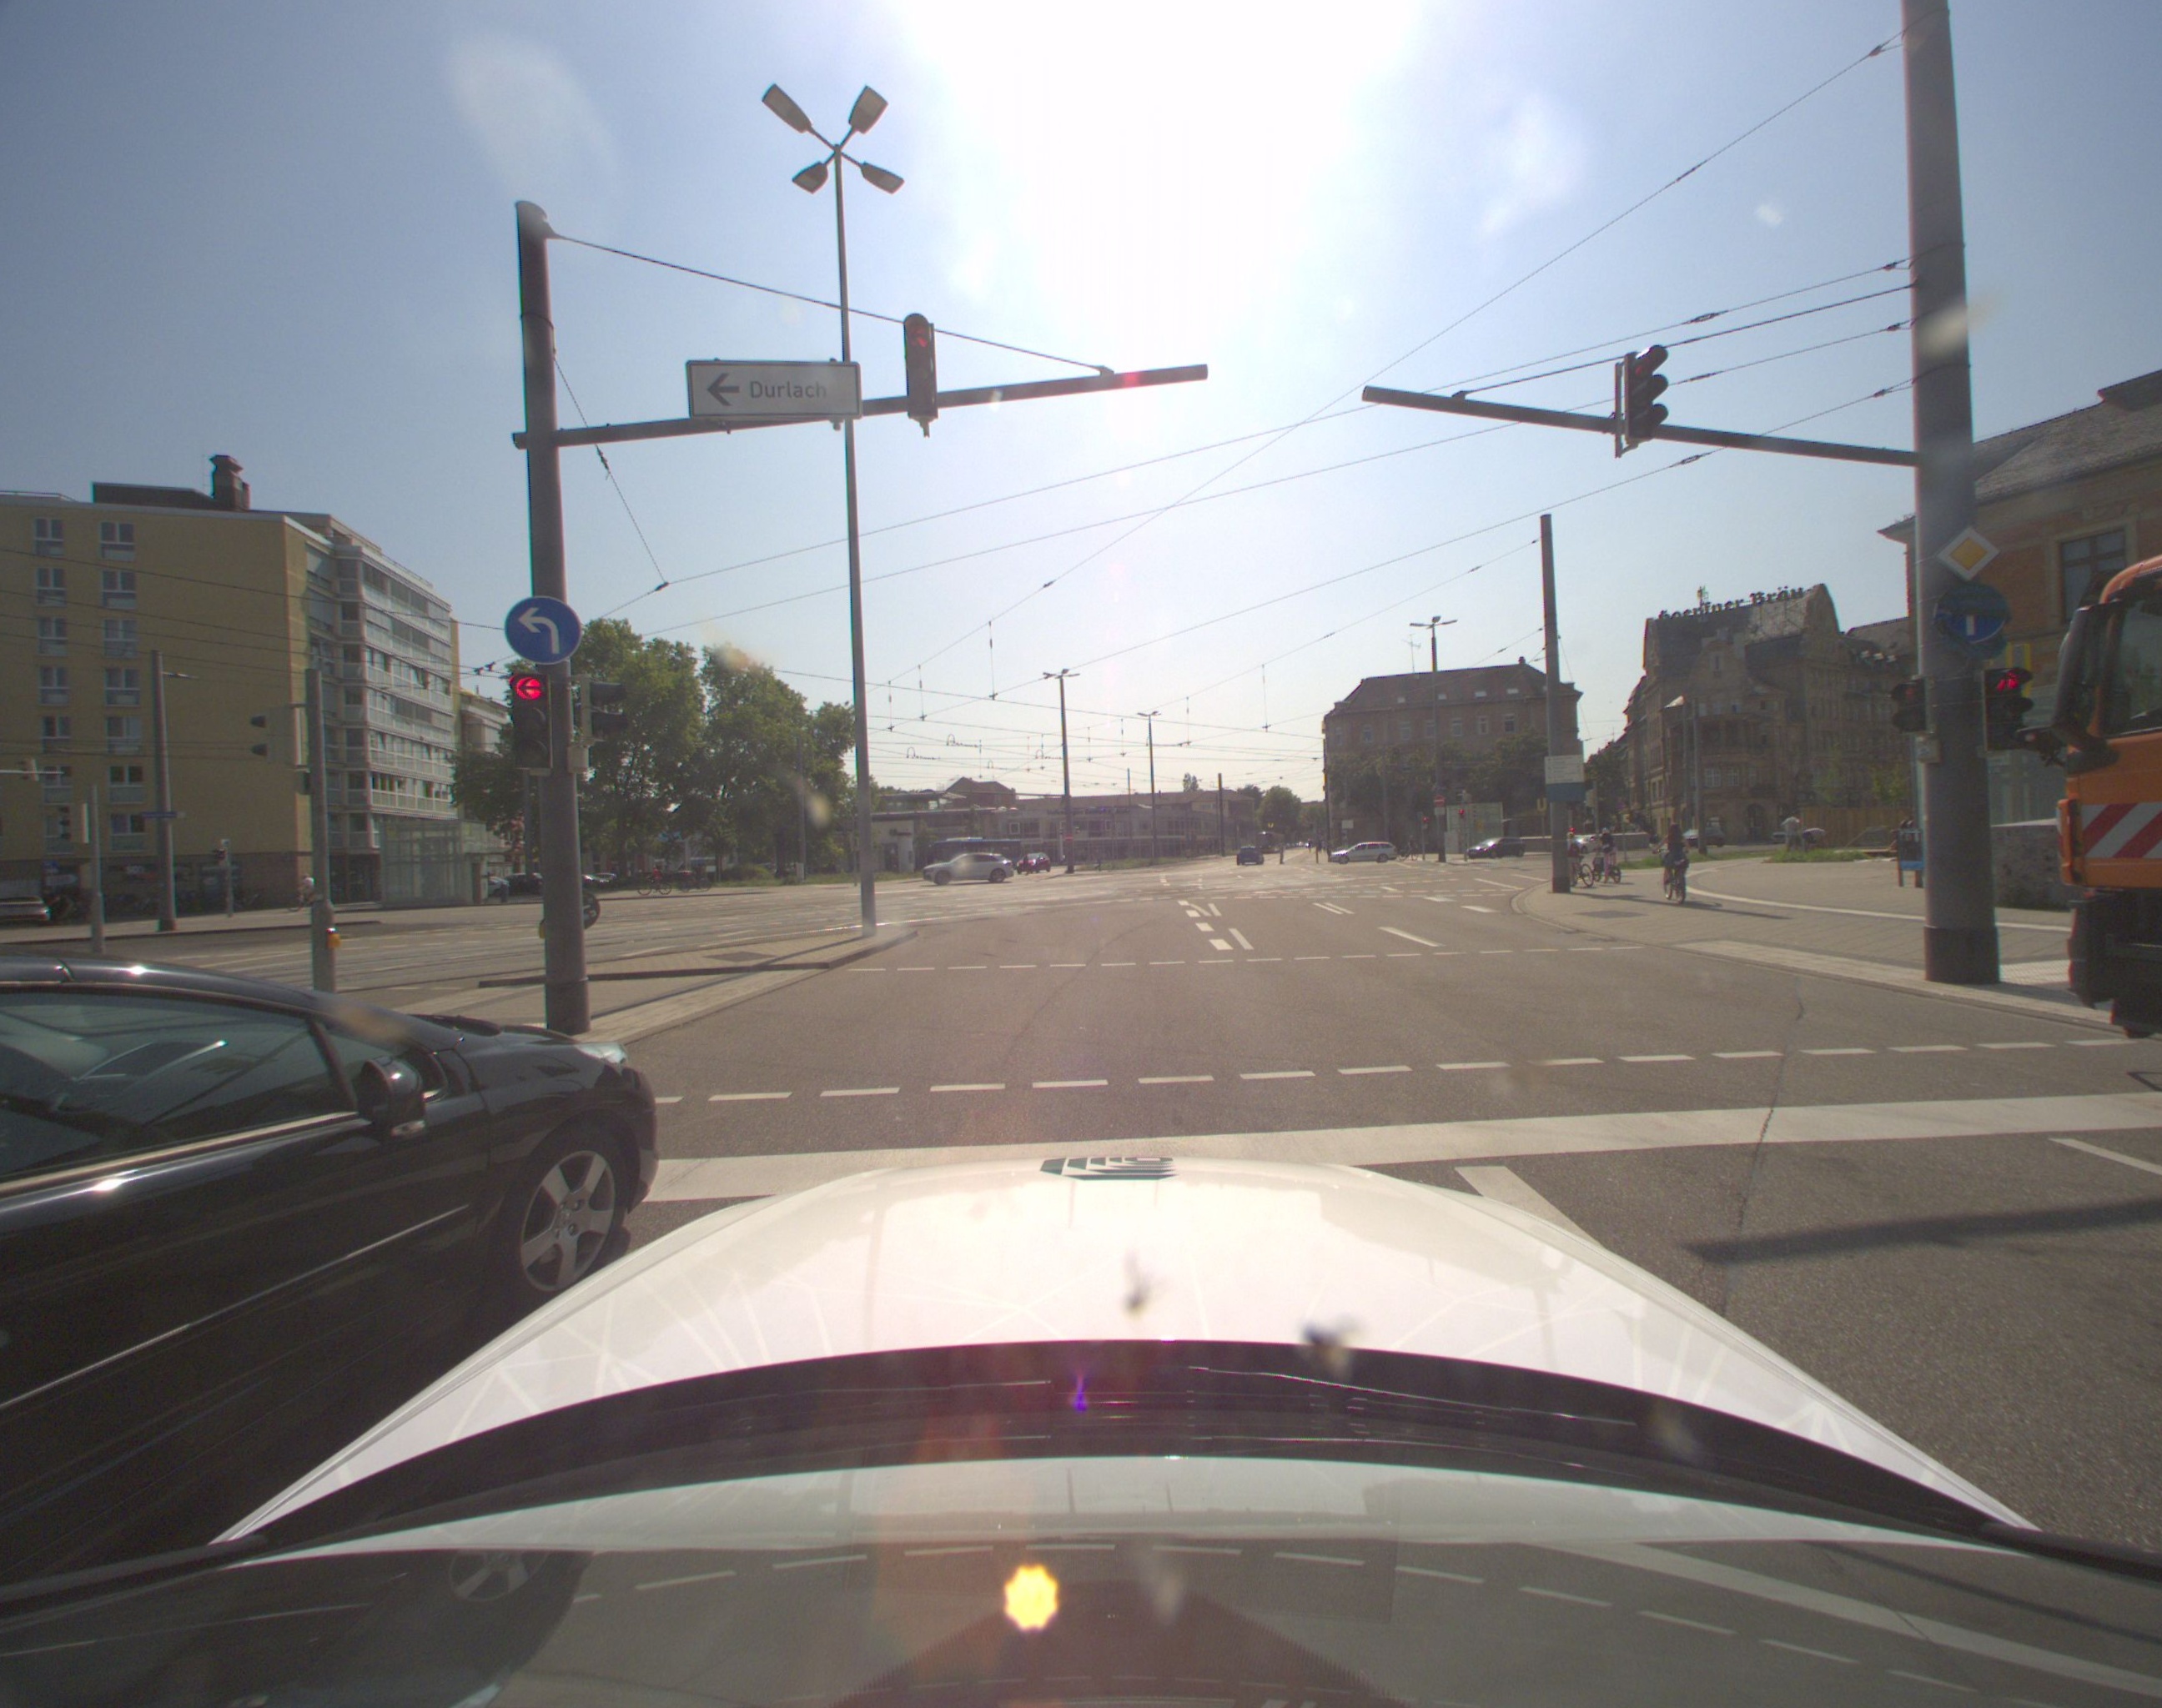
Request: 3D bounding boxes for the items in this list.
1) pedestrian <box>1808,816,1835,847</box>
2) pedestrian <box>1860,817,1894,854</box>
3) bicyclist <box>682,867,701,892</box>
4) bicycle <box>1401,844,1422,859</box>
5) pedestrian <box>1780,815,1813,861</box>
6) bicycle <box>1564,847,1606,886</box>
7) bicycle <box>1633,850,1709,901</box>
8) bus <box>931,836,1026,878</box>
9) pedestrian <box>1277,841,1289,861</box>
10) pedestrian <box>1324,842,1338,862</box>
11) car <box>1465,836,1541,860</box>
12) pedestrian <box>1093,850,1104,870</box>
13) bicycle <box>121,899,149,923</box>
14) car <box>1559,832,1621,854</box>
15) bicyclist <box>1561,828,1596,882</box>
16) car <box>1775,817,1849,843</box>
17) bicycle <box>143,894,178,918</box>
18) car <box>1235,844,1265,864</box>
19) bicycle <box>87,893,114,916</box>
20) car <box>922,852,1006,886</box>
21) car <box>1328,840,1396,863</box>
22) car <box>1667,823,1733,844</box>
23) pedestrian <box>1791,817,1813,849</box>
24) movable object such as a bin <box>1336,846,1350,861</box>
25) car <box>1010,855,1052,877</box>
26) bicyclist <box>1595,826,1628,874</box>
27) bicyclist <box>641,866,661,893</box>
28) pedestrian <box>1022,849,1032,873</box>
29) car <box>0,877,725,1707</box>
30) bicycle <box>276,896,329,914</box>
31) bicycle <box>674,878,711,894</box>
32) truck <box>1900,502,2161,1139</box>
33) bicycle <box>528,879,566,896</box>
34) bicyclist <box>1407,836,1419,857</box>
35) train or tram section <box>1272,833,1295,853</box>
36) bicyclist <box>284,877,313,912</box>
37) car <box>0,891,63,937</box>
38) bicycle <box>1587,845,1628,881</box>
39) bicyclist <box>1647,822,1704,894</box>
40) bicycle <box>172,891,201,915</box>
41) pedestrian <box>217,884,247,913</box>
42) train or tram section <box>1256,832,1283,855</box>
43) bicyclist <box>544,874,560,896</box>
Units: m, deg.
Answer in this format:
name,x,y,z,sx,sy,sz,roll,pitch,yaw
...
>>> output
name,x,y,z,sx,sy,sz,roll,pitch,yaw
pedestrian,29.183,-0.887,32.110,0.658,1.214,0.531,-2,0,30
pedestrian,31.591,-0.726,32.306,0.768,1.399,0.687,-2,0,-24
bicyclist,-23.539,1.528,49.225,0.873,1.475,0.543,-2,0,-16
bicycle,24.348,-0.199,60.080,0.470,1.055,1.643,-2,0,-18
pedestrian,27.237,-0.614,31.008,0.549,1.724,0.812,-2,0,-39
bicycle,14.570,0.341,23.590,0.532,1.055,1.660,-2,0,14
bicycle,12.893,0.442,17.846,0.489,1.055,1.826,-2,0,7
bus,-8.170,0.159,67.173,2.541,3.082,12.082,-3,0,19
pedestrian,15.947,-0.238,64.235,0.699,1.603,0.572,-2,0,-6
pedestrian,19.420,-0.142,63.370,0.849,1.545,0.527,-2,0,-6
car,28.962,-0.412,55.921,4.766,1.415,1.765,-2,0,-18
pedestrian,1.276,0.442,58.964,0.678,1.443,0.364,-2,0,-15
bicycle,-51.354,3.096,44.178,3.220,1.204,0.699,-3,0,36
car,37.741,-0.821,60.374,4.207,1.415,1.762,-2,0,-24
bicyclist,14.592,0.027,23.899,0.623,1.517,0.715,-2,0,14
car,63.360,-2.028,70.636,4.593,2.013,2.001,-2,0,2
bicycle,-50.262,2.829,44.448,3.220,1.204,0.916,-3,0,36
car,13.217,-0.019,63.636,1.577,1.394,4.021,-3,0,22
bicycle,-53.084,2.730,44.084,2.754,1.204,0.699,-3,0,36
car,-6.431,0.799,44.550,4.330,1.618,1.745,-2,0,-16
car,19.296,-0.189,56.046,4.149,1.415,1.781,-2,0,10
car,50.511,-1.674,66.452,4.624,1.505,1.987,-2,0,-19
pedestrian,36.337,-1.055,41.056,0.794,1.575,0.729,-2,0,-44
movable object such as a bin,20.297,-0.022,63.087,0.812,1.077,0.510,-2,0,-9
car,-3.889,0.955,63.817,1.735,1.552,4.020,-3,0,20
bicyclist,16.100,-0.122,24.732,0.526,1.393,0.897,-2,0,14
bicyclist,-24.813,1.464,46.982,0.871,1.483,0.496,-2,0,-10
pedestrian,-3.869,0.491,58.092,0.554,1.684,0.451,-2,0,-17
car,-2.634,0.810,1.747,1.757,1.388,3.787,-1,0,6
bicycle,-41.513,2.718,43.437,2.049,0.802,0.478,-2,0,-11
bicycle,-23.474,1.928,49.234,1.860,0.802,0.604,-2,0,-17
truck,6.415,-0.162,1.887,2.481,3.134,6.869,0,0,4
bicycle,-31.914,2.008,48.662,1.814,0.942,0.414,-2,0,-11
bicyclist,24.406,-0.561,59.906,0.614,1.528,0.517,-2,0,-22
train or tram section,38.146,-2.123,152.990,2.566,3.516,13.040,-2,0,21
bicyclist,-41.706,2.165,43.407,0.924,1.808,0.496,-2,0,-11
car,-48.251,2.711,37.285,3.949,1.925,1.815,-3,0,42
bicycle,16.195,0.267,25.083,0.532,1.055,1.660,-2,0,14
bicyclist,12.874,0.084,17.651,0.730,1.517,0.665,-2,0,6
bicycle,-49.179,2.687,44.765,3.220,1.204,0.699,-3,0,36
pedestrian,-47.863,2.507,45.908,0.858,1.543,0.739,-2,0,-17
train or tram section,30.736,-1.707,132.501,2.566,3.516,10.955,-2,0,21
bicyclist,-31.600,1.828,48.638,0.544,1.293,0.557,-2,0,-10
